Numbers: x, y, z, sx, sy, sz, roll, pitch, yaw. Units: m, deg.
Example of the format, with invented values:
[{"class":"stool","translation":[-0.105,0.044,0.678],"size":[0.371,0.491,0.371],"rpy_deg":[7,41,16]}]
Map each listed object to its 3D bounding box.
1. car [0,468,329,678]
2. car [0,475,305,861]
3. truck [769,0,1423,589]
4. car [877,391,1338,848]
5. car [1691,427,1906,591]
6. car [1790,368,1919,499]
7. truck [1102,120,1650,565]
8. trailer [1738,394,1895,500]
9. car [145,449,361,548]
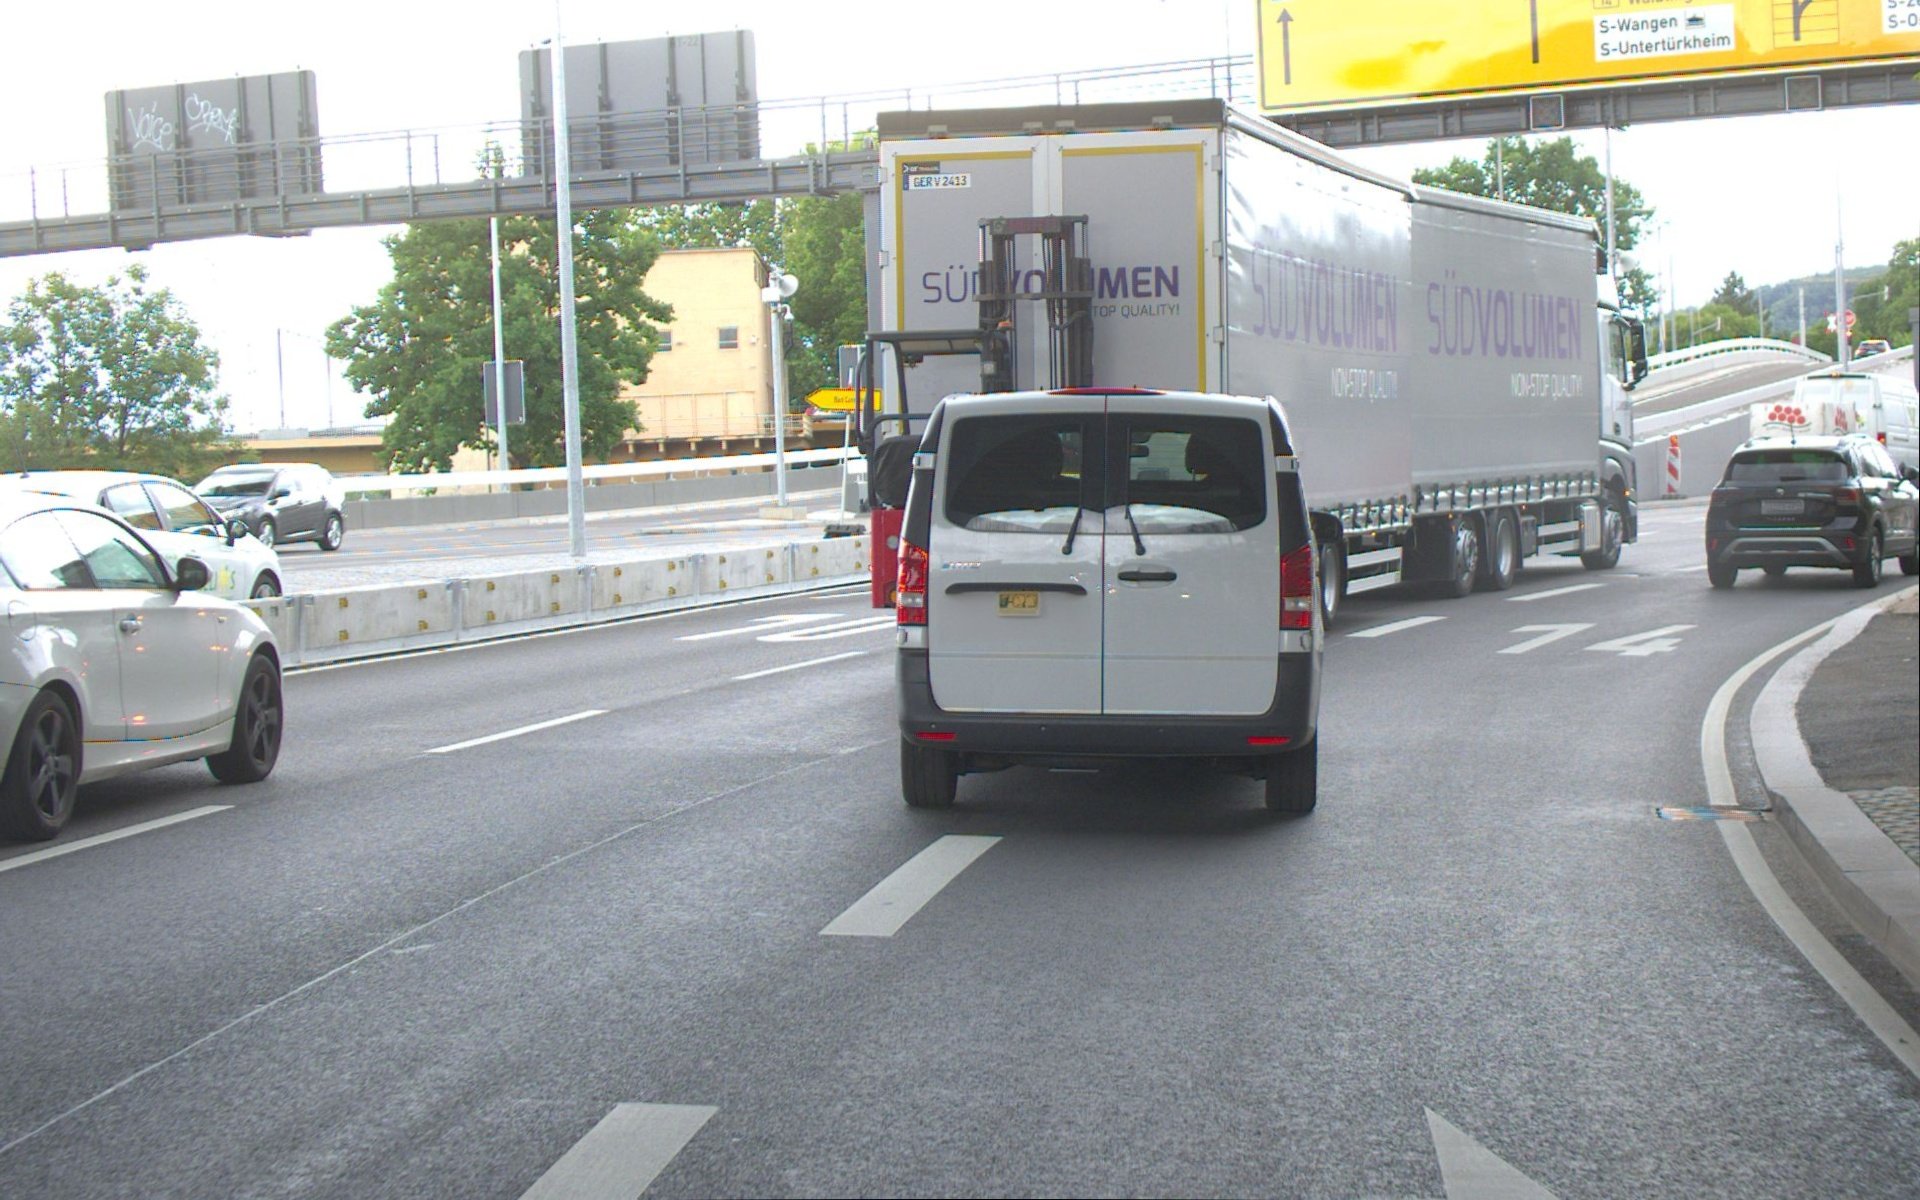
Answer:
[{"class":"car","translation":[-6.433,-0.250,26.384],"size":[1.577,1.479,3.995],"rpy_deg":[0,2,15]},{"class":"car","translation":[-4.323,0.204,15.134],"size":[1.639,1.428,3.981],"rpy_deg":[1,3,8]},{"class":"truck","translation":[1.547,-2.279,28.419],"size":[2.920,4.003,10.193],"rpy_deg":[1,2,17]},{"class":"car","translation":[0.864,-0.050,16.716],"size":[1.876,1.884,4.752],"rpy_deg":[1,3,7]},{"class":"car","translation":[9.030,-1.009,36.825],"size":[1.751,1.619,3.841],"rpy_deg":[0,3,21]},{"class":"car","translation":[18.391,-3.375,69.412],"size":[1.996,2.532,5.167],"rpy_deg":[1,3,27]},{"class":"truck","translation":[4.951,-2.631,37.955],"size":[2.991,4.161,11.228],"rpy_deg":[1,2,23]},{"class":"trailer","translation":[16.303,-2.924,65.314],"size":[1.996,1.950,4.073],"rpy_deg":[1,3,27]},{"class":"car","translation":[-11.675,-1.706,57.055],"size":[1.737,1.575,4.146],"rpy_deg":[0,2,17]}]
